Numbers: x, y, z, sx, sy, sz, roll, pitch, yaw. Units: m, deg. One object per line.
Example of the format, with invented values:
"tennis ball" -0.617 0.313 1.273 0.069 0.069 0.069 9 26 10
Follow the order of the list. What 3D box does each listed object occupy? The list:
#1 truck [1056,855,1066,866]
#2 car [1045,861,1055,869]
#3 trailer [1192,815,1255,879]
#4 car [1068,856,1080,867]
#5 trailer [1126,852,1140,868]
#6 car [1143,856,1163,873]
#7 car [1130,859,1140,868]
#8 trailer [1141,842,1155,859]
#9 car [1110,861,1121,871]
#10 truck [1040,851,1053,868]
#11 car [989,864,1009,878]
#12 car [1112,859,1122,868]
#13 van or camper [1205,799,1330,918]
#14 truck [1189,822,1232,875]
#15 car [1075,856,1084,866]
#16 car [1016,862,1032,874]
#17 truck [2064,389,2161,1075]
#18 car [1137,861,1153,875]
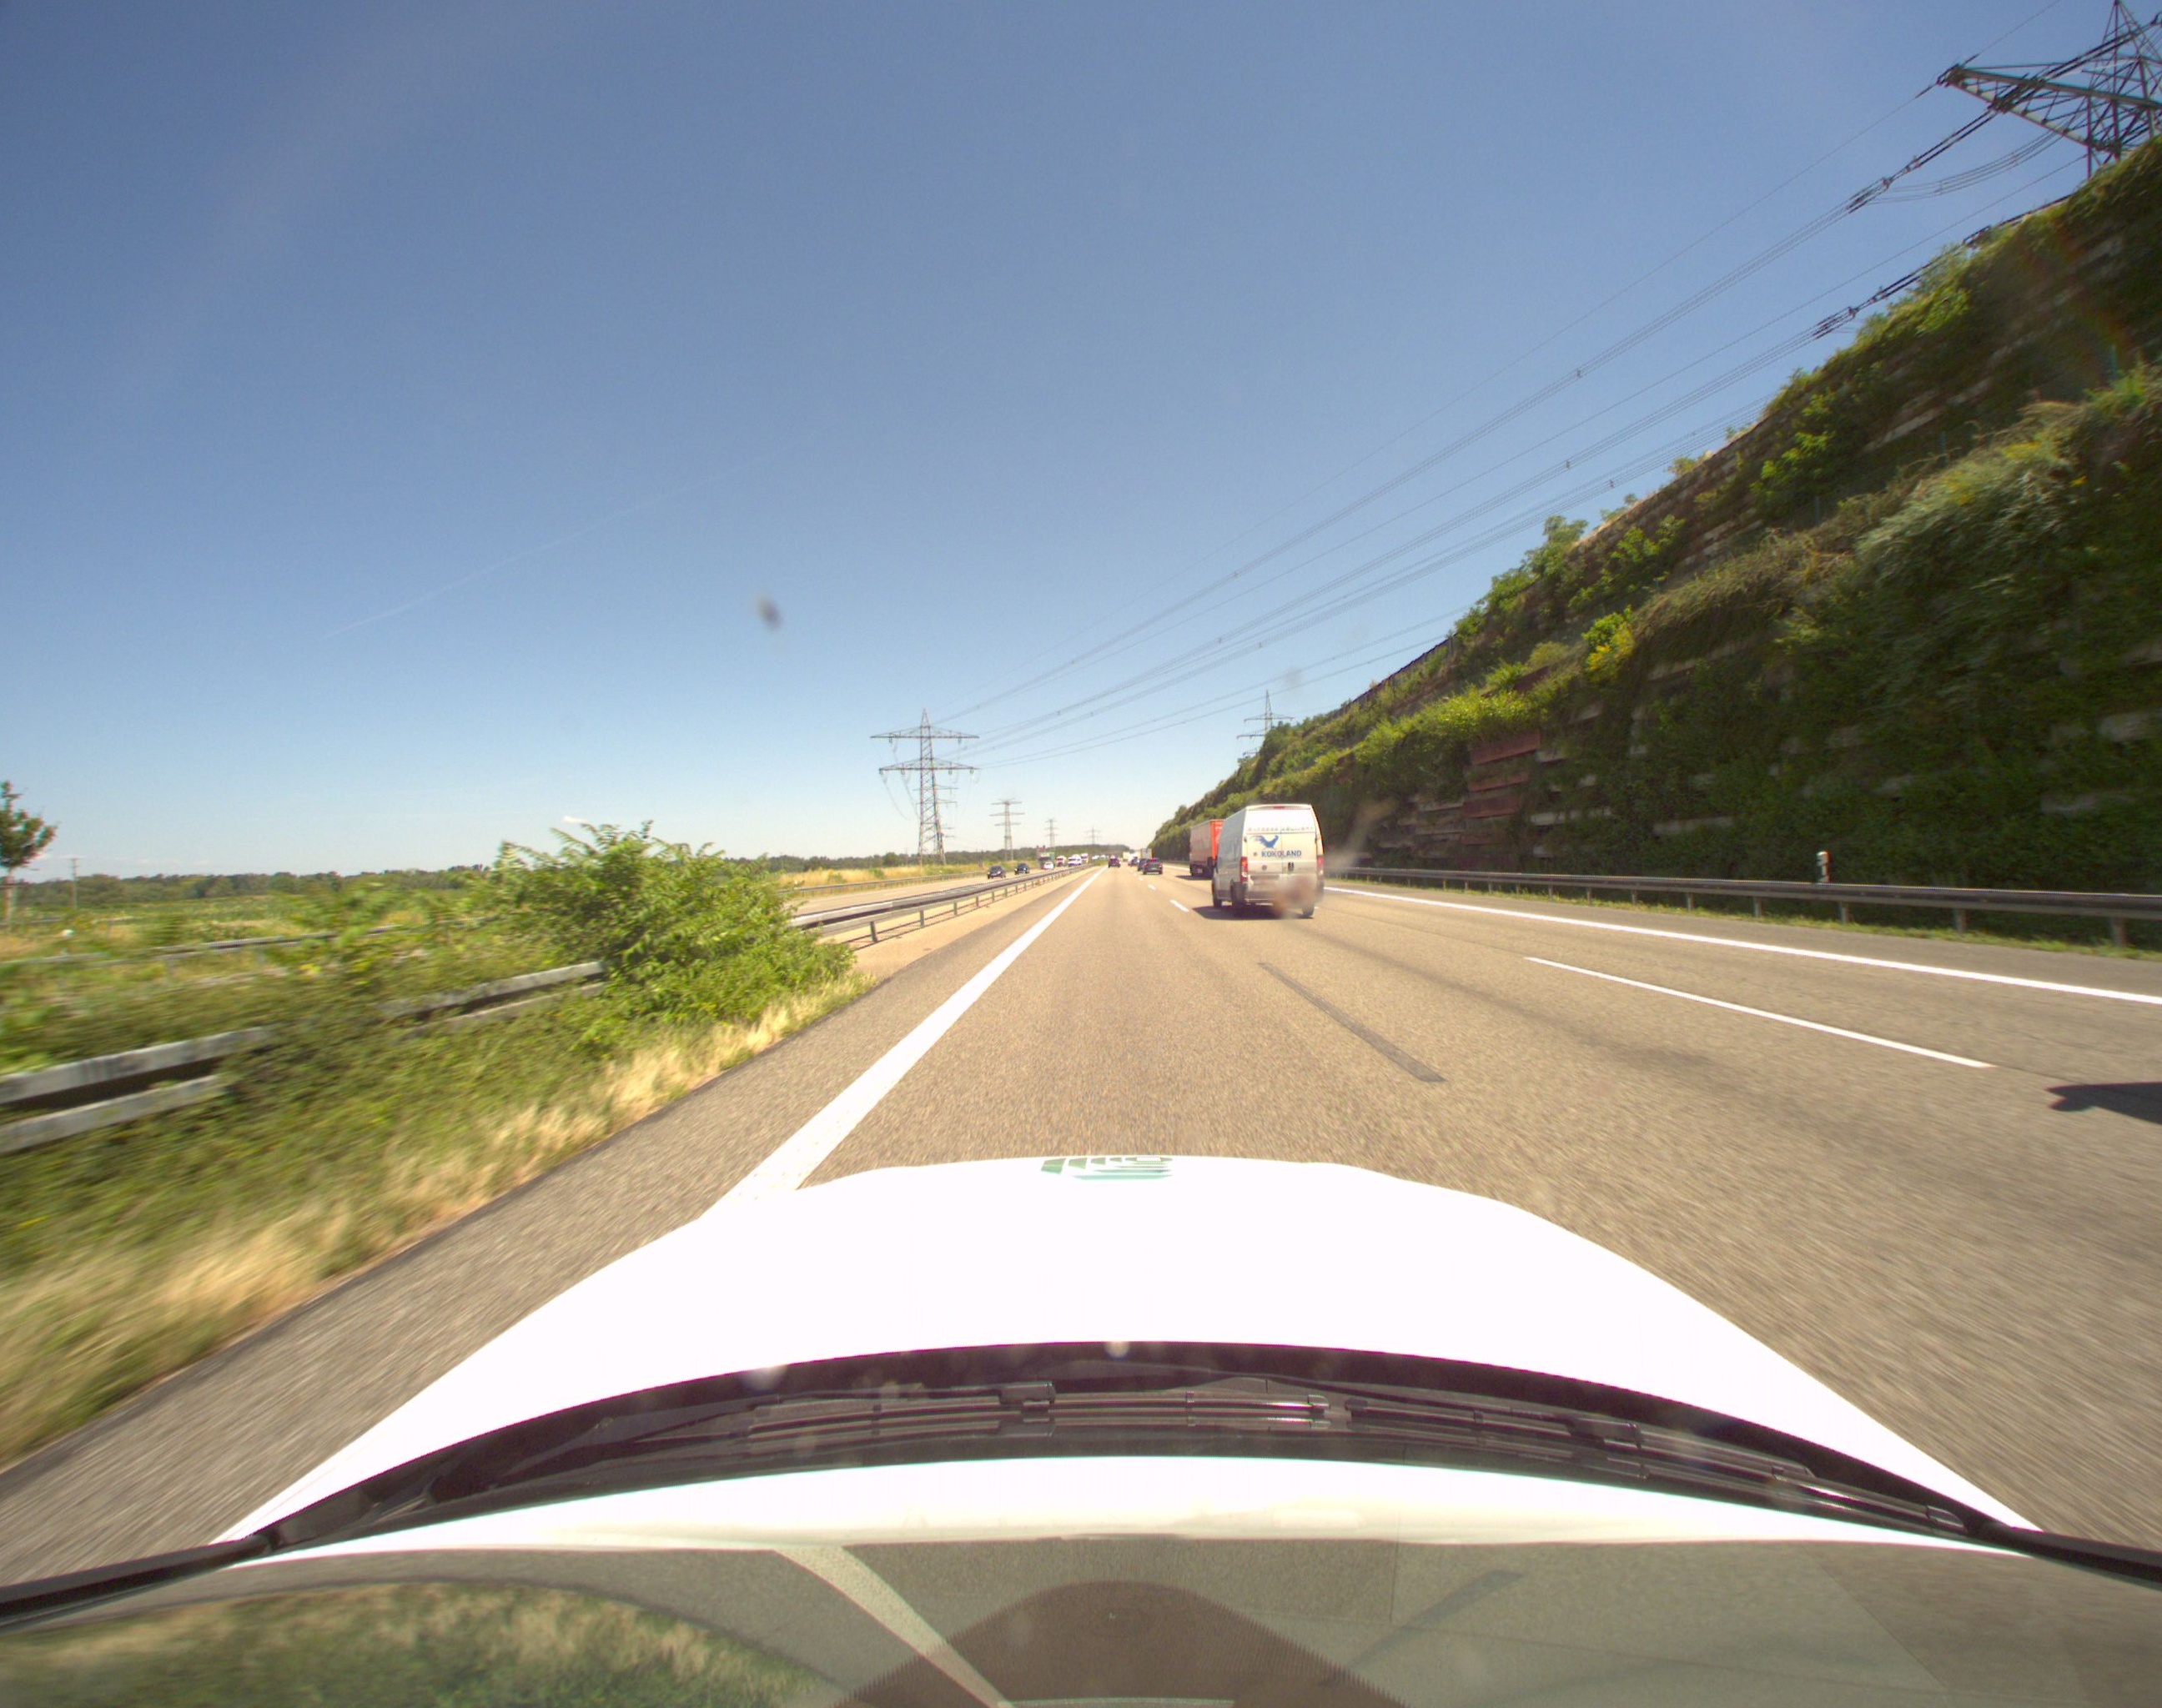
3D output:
"truck" -6.403 2.134 256.026 2.473 3.378 6.215 -3 0 3
"car" -6.407 2.271 170.342 1.701 1.524 4.516 -5 -1 2
"trailer" 9.994 -0.441 58.634 2.634 4.005 13.614 -1 0 3
"car" -1.537 1.563 180.061 2.100 2.298 6.709 -3 0 2
"trailer" 11.342 1.346 178.476 2.600 3.213 9.958 -3 -1 2
"car" 6.892 0.995 78.466 1.742 1.525 3.997 -2 -1 2
"car" 10.253 1.790 153.913 1.822 1.525 4.004 -3 -1 4
"trailer" 17.501 -0.767 214.795 3.170 4.121 13.441 -3 -1 3
"car" 5.988 2.034 142.972 1.822 1.670 4.002 -3 -1 2
"truck" -8.566 1.411 202.407 2.688 4.134 6.584 -3 0 2
"car" -9.491 1.975 94.558 1.612 1.460 4.284 -5 0 1
"car" 7.160 1.909 160.772 1.822 1.670 4.002 -3 -1 2
"van or camper" 4.937 0.123 22.703 2.088 2.769 6.760 -2 0 2
"truck" 10.289 -0.420 65.442 2.607 3.992 6.530 -2 0 3
"car" -0.391 1.695 206.748 2.040 2.438 6.071 -4 0 2
"car" -8.446 2.054 120.653 1.833 1.629 4.416 -5 0 2
"truck" 7.804 -0.800 2.289 2.498 4.220 6.259 -2 -1 2
"car" 7.908 1.718 100.490 1.787 1.653 4.141 -2 0 3
